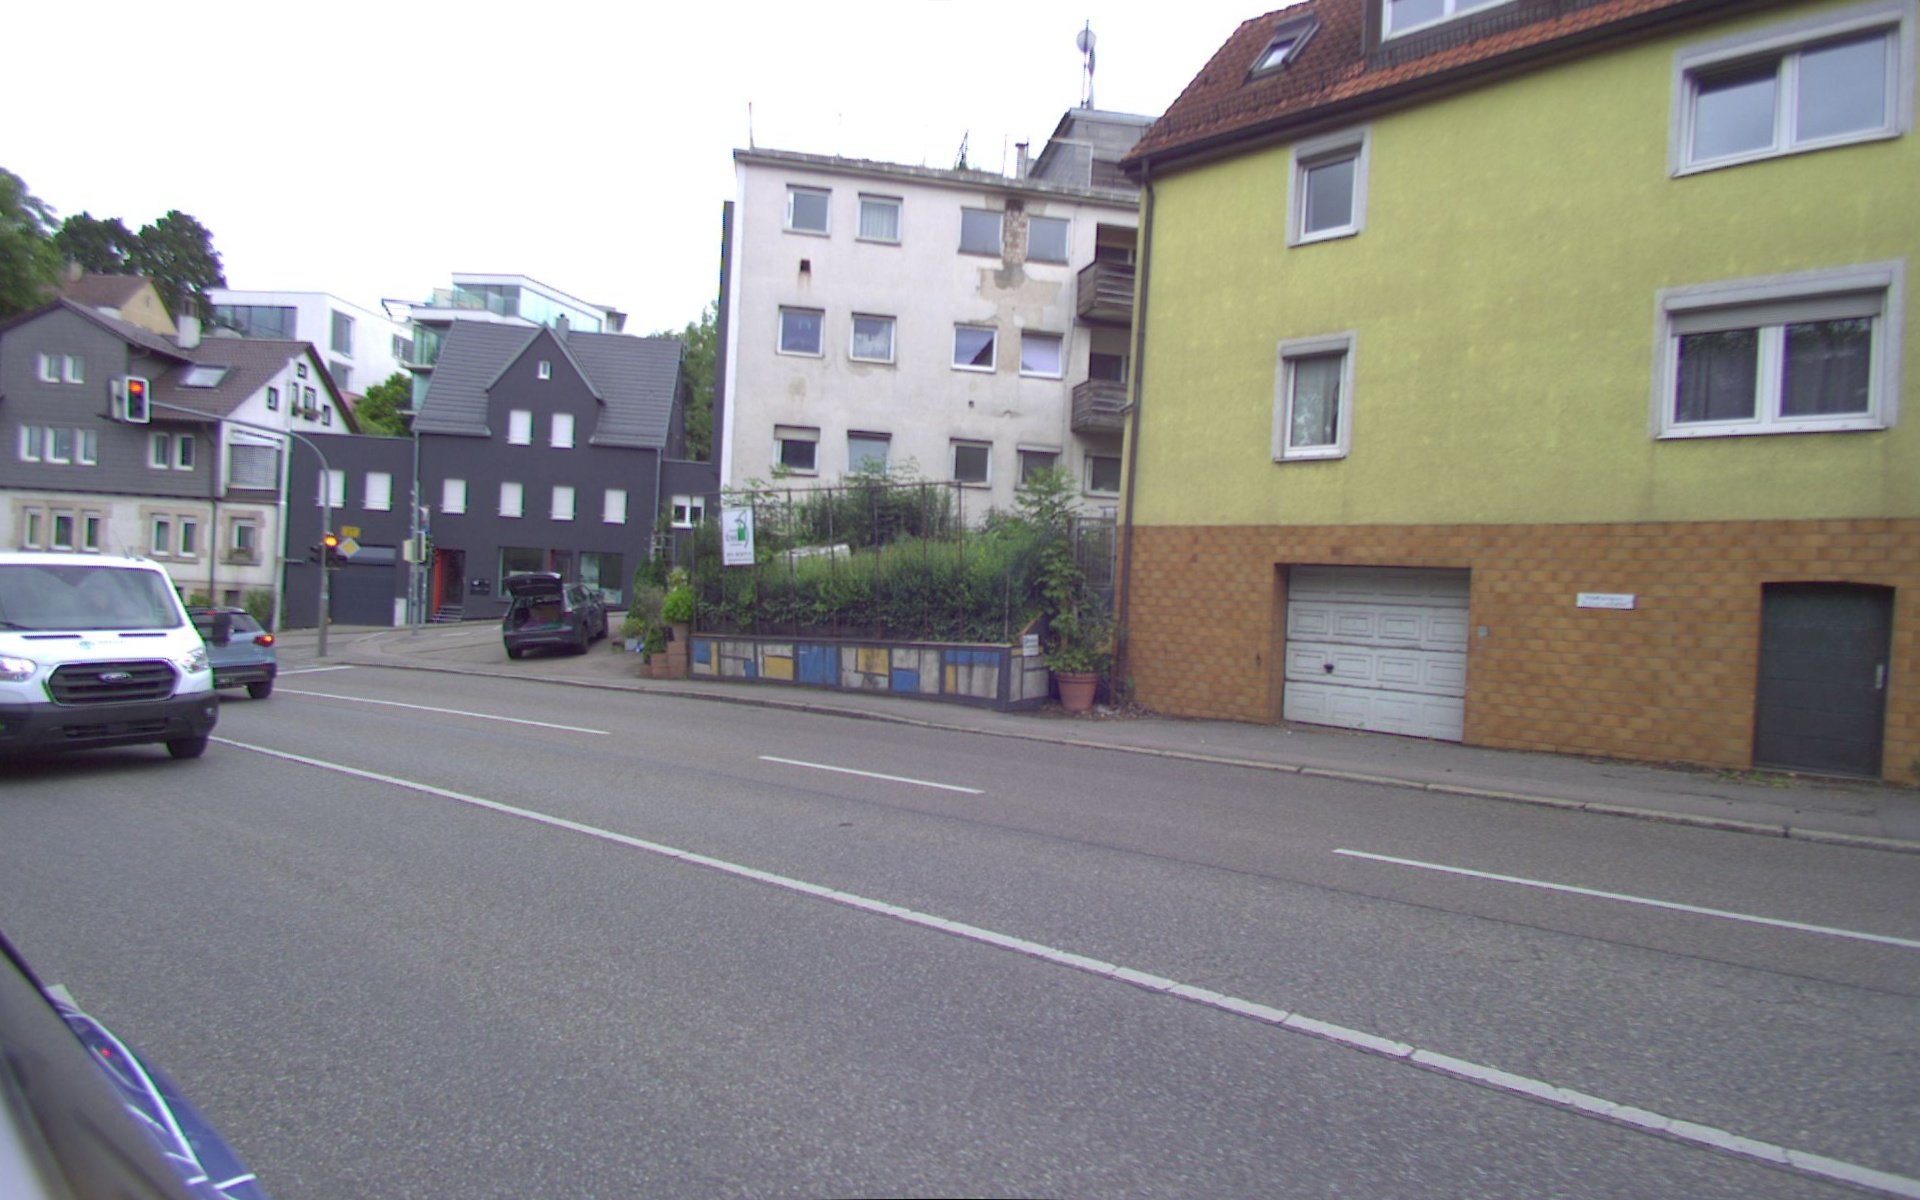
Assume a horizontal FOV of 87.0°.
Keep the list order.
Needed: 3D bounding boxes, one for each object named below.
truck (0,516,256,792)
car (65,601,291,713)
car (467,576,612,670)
[{"bbox_3d":[-10.383,0.497,11.036,6.308,2.338,2.060,-1,-1,31],"label":"truck"},{"bbox_3d":[-13.667,0.906,17.626,4.336,1.708,1.880,-1,0,34],"label":"car"},{"bbox_3d":[-10.486,0.470,25.682,2.281,1.724,4.715,-4,6,-9],"label":"car"}]
